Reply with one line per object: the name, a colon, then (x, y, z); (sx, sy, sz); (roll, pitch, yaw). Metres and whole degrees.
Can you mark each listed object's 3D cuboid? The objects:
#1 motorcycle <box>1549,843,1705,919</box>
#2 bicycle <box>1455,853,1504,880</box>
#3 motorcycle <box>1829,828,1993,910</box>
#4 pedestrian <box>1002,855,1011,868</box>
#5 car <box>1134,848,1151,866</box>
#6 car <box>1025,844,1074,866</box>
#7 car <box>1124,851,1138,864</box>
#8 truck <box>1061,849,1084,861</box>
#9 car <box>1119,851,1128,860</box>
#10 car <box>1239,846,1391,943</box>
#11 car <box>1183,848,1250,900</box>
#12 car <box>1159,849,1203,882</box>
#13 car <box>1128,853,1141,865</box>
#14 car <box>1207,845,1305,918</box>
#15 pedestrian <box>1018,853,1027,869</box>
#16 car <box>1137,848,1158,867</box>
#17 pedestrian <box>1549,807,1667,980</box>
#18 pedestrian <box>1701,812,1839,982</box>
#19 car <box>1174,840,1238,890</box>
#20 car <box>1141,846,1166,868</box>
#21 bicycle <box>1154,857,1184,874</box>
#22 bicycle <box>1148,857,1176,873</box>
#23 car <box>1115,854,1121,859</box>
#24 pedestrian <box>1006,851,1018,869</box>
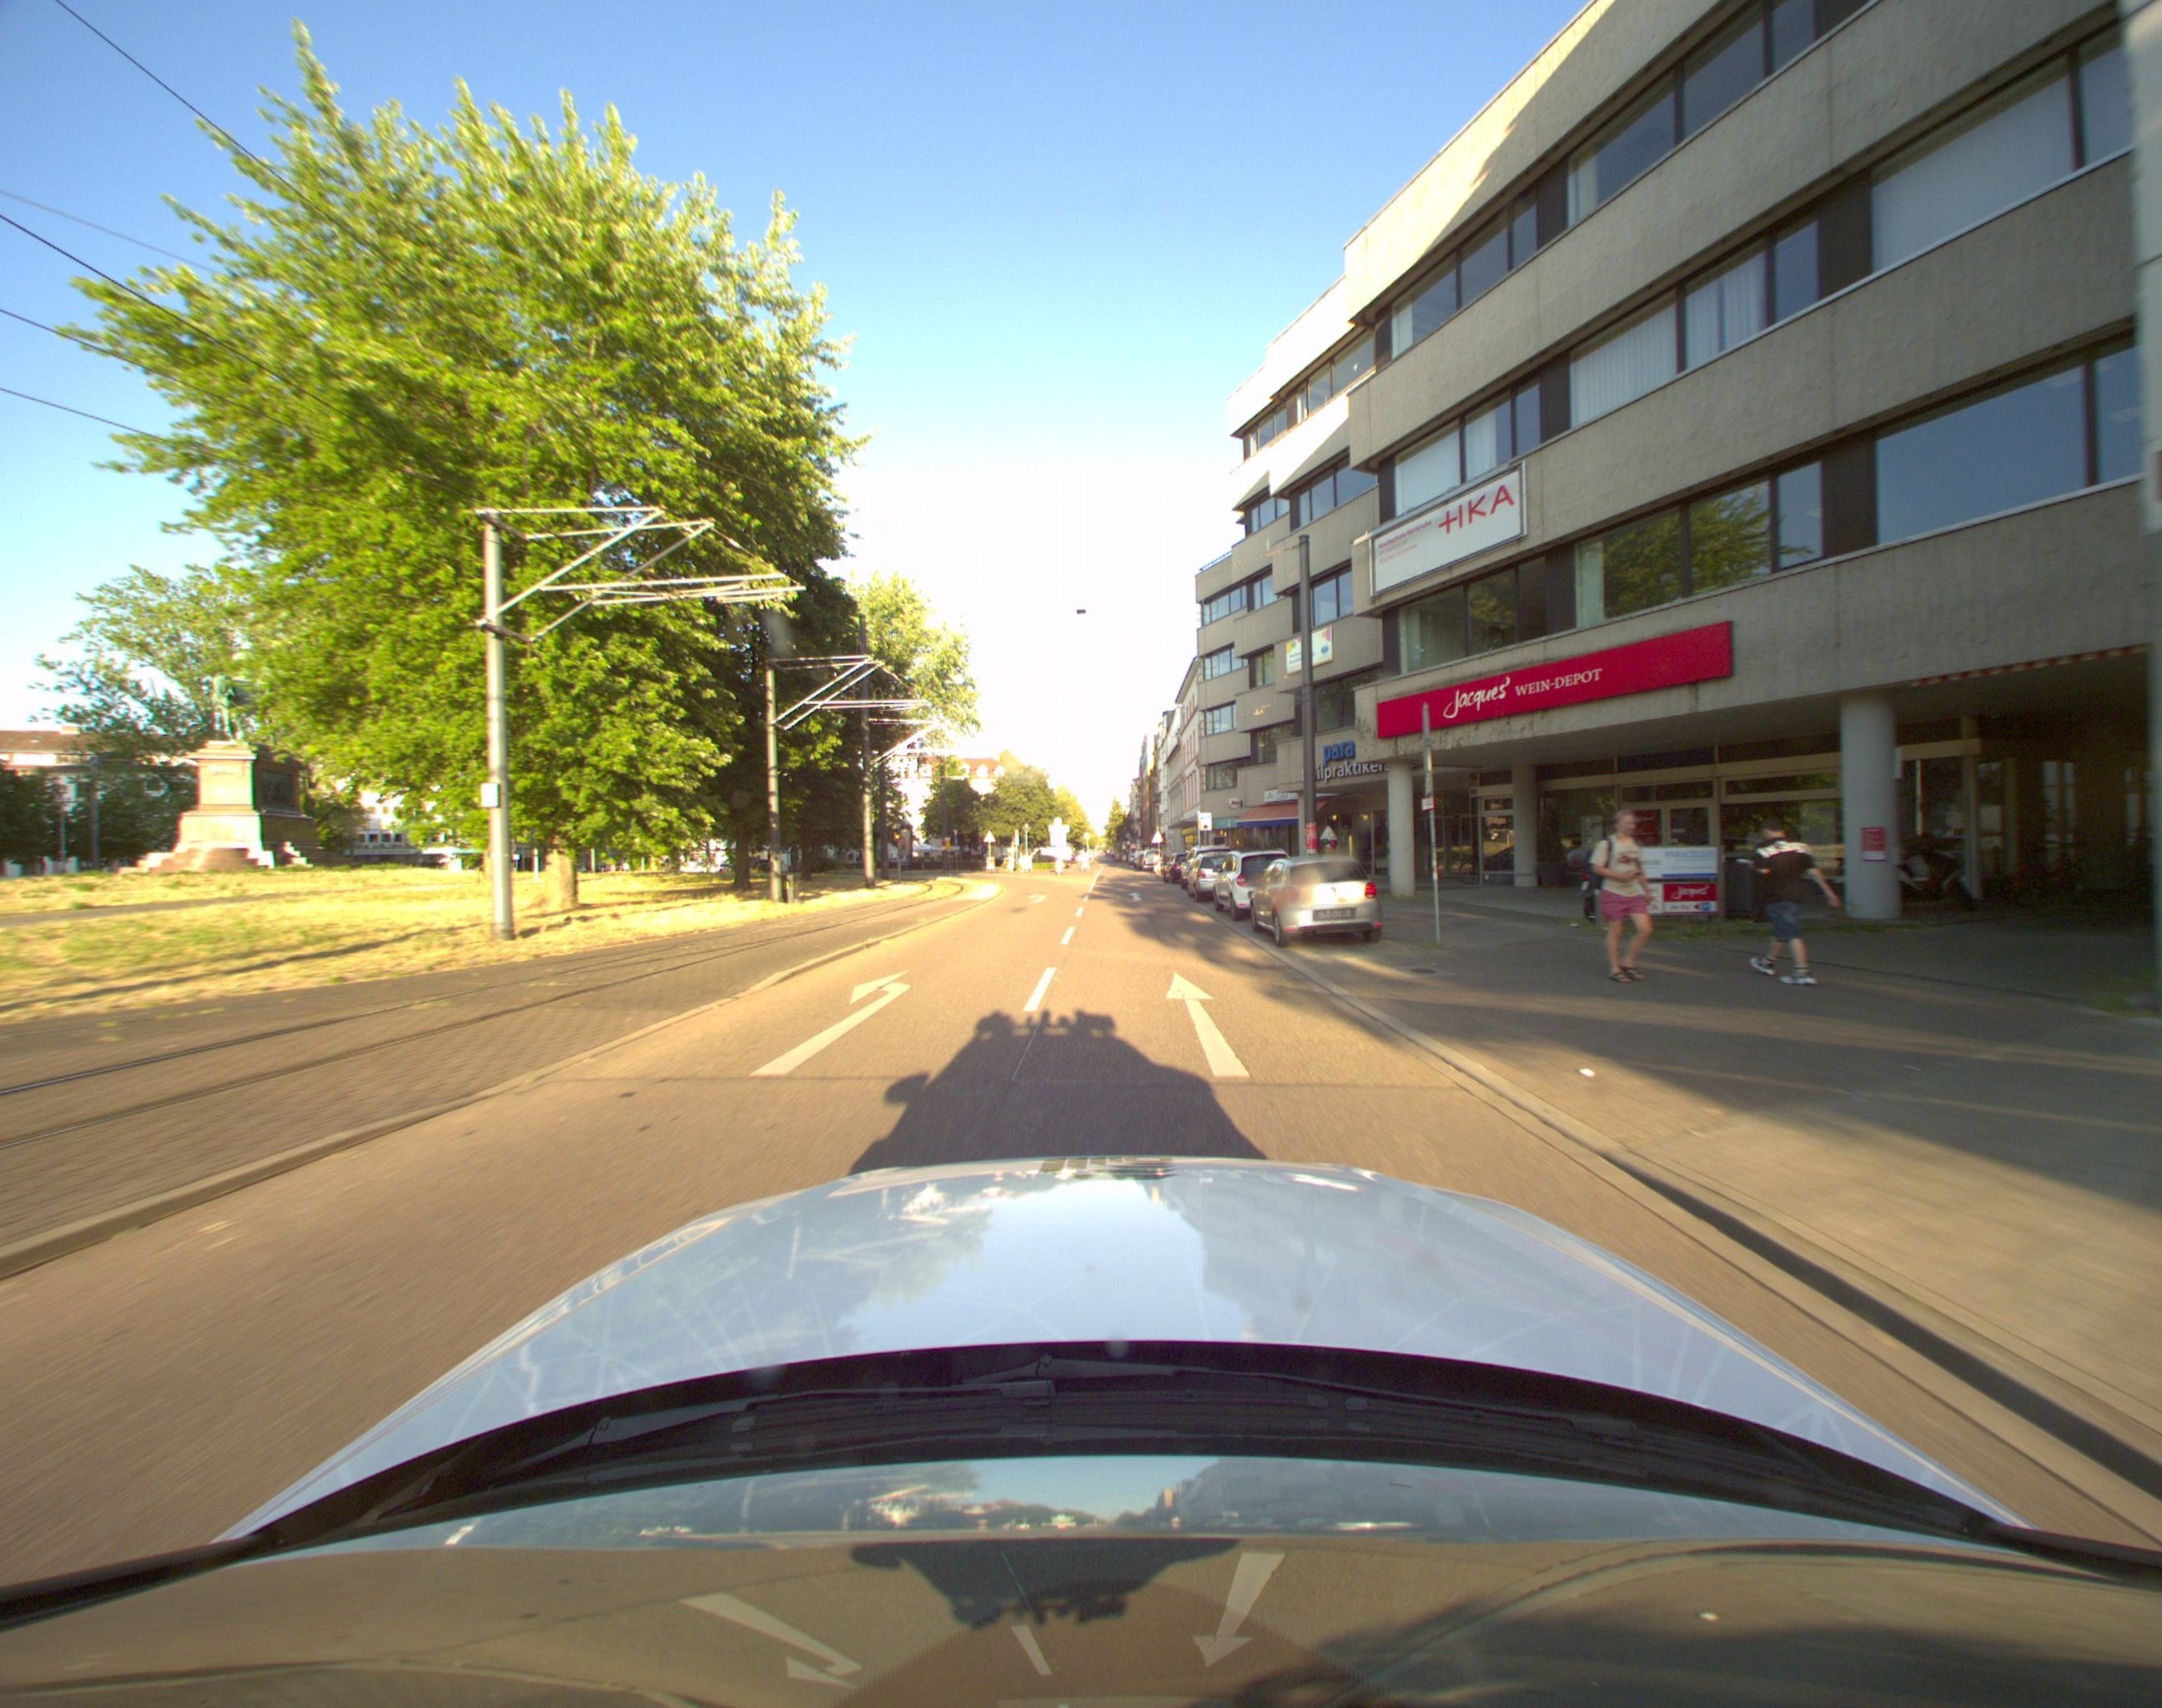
motorcycle: (9.054, 0.429, 13.530); (2.275, 1.190, 0.703); (-1, 0, -9)
bicycle: (12.553, 0.391, 25.676); (1.391, 0.828, 0.436); (0, 0, -8)
motorcycle: (13.692, 0.248, 13.488); (1.777, 1.293, 0.672); (-2, 0, 17)
pedestrian: (-7.868, 0.795, 85.857); (0.752, 1.277, 0.654); (0, 0, -36)
car: (6.432, 0.272, 85.860); (1.703, 1.835, 4.309); (0, 0, 3)
car: (-3.285, 0.103, 85.427); (4.621, 2.251, 2.185); (0, 0, -25)
car: (7.169, 0.552, 116.999); (1.690, 1.769, 4.001); (-1, 0, 1)
truck: (-1.860, 0.191, 181.817); (4.923, 2.615, 2.000); (-1, 0, 1)
car: (8.273, 0.315, 159.029); (1.572, 1.543, 3.395); (-3, -1, -1)
car: (4.007, 0.636, 14.630); (1.777, 1.456, 4.004); (-1, 0, 3)
car: (4.217, 0.578, 25.845); (1.634, 1.528, 4.002); (0, 0, 2)
car: (4.765, 0.536, 39.211); (1.783, 1.507, 3.923); (0, 0, 3)
car: (7.406, 0.679, 111.921); (1.673, 1.561, 4.005); (-3, 0, 4)
car: (4.104, 0.584, 19.607); (1.579, 1.590, 3.668); (0, 0, 0)
pedestrian: (-4.923, 0.612, 68.601); (0.567, 1.364, 0.607); (0, 0, -35)
car: (5.923, 0.324, 73.047); (1.650, 1.665, 4.109); (0, 0, 1)
pedestrian: (5.763, 0.401, 8.933); (0.641, 1.785, 0.851); (-2, 1, -22)
pedestrian: (7.047, 0.406, 8.350); (0.641, 1.627, 0.851); (-3, 1, -22)
car: (4.721, 0.382, 31.287); (1.778, 1.804, 4.401); (0, 0, 0)
car: (5.952, 0.256, 67.473); (1.786, 1.792, 4.093); (-1, 0, 2)
bicycle: (5.591, 0.729, 51.937); (1.775, 0.990, 0.544); (-4, 1, 13)
bicycle: (5.526, 0.771, 55.867); (1.771, 0.990, 0.545); (-4, 1, 24)
car: (8.633, 0.596, 190.914); (1.203, 1.300, 2.659); (0, -1, -1)
pedestrian: (-5.797, 0.490, 68.429); (0.702, 1.559, 0.687); (0, 0, -36)
